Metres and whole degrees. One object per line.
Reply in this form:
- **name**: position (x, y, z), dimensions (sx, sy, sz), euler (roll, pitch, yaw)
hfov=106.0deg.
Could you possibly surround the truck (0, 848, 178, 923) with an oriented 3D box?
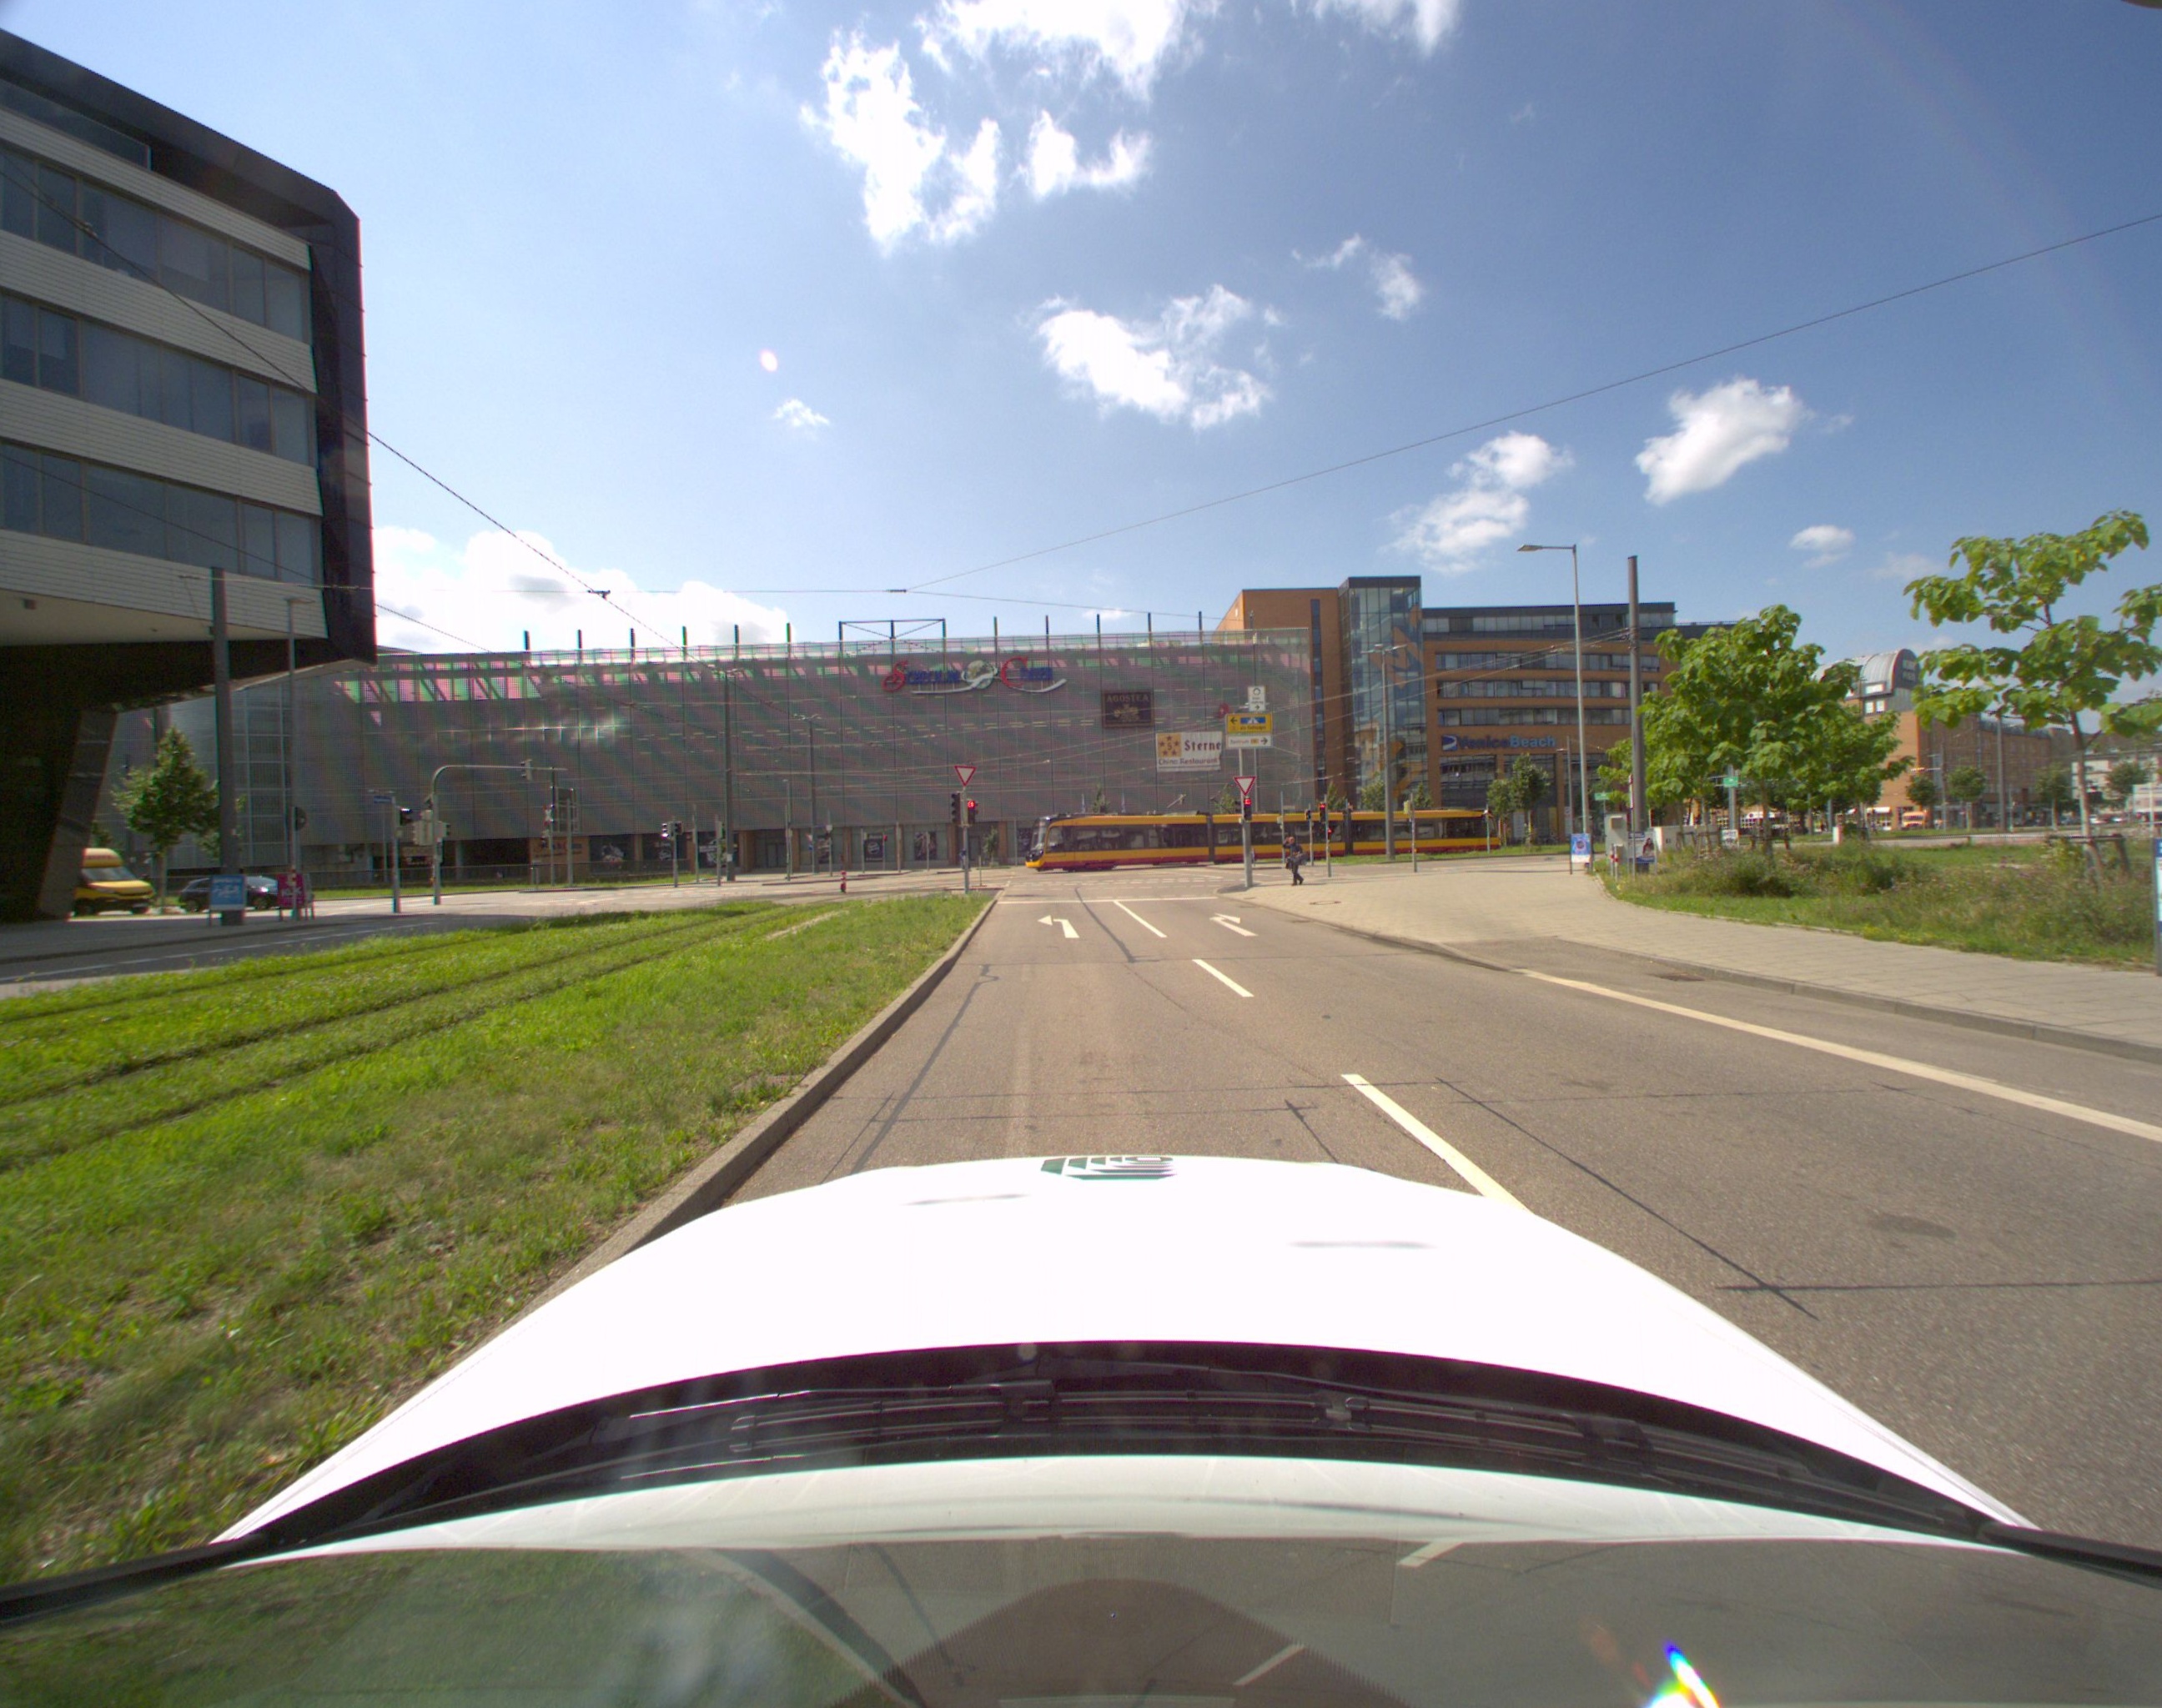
- **truck**: position (-42.123, 1.299, 33.504), dimensions (6.831, 2.829, 2.444), euler (-2, 0, -3)

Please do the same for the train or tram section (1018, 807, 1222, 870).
- **train or tram section**: position (2.747, -1.030, 52.035), dimensions (13.545, 3.599, 3.195), euler (-1, 1, -31)

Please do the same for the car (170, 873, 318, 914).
- **car**: position (-34.663, 1.630, 33.813), dimensions (4.087, 1.469, 1.827), euler (-2, 0, -2)

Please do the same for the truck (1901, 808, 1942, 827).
- **truck**: position (96.809, -4.214, 93.819), dimensions (5.539, 2.085, 1.981), euler (-1, 1, -30)

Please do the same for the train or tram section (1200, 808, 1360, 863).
- **train or tram section**: position (14.074, -1.339, 57.414), dimensions (10.987, 3.603, 3.047), euler (-1, 0, -18)

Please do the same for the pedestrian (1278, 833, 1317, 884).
- **pedestrian**: position (7.461, 0.150, 28.064), dimensions (0.811, 1.702, 0.910), euler (-3, 0, -30)

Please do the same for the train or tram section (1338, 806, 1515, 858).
- **train or tram section**: position (25.631, -1.656, 60.485), dimensions (12.602, 3.621, 3.053), euler (-1, 0, -12)
